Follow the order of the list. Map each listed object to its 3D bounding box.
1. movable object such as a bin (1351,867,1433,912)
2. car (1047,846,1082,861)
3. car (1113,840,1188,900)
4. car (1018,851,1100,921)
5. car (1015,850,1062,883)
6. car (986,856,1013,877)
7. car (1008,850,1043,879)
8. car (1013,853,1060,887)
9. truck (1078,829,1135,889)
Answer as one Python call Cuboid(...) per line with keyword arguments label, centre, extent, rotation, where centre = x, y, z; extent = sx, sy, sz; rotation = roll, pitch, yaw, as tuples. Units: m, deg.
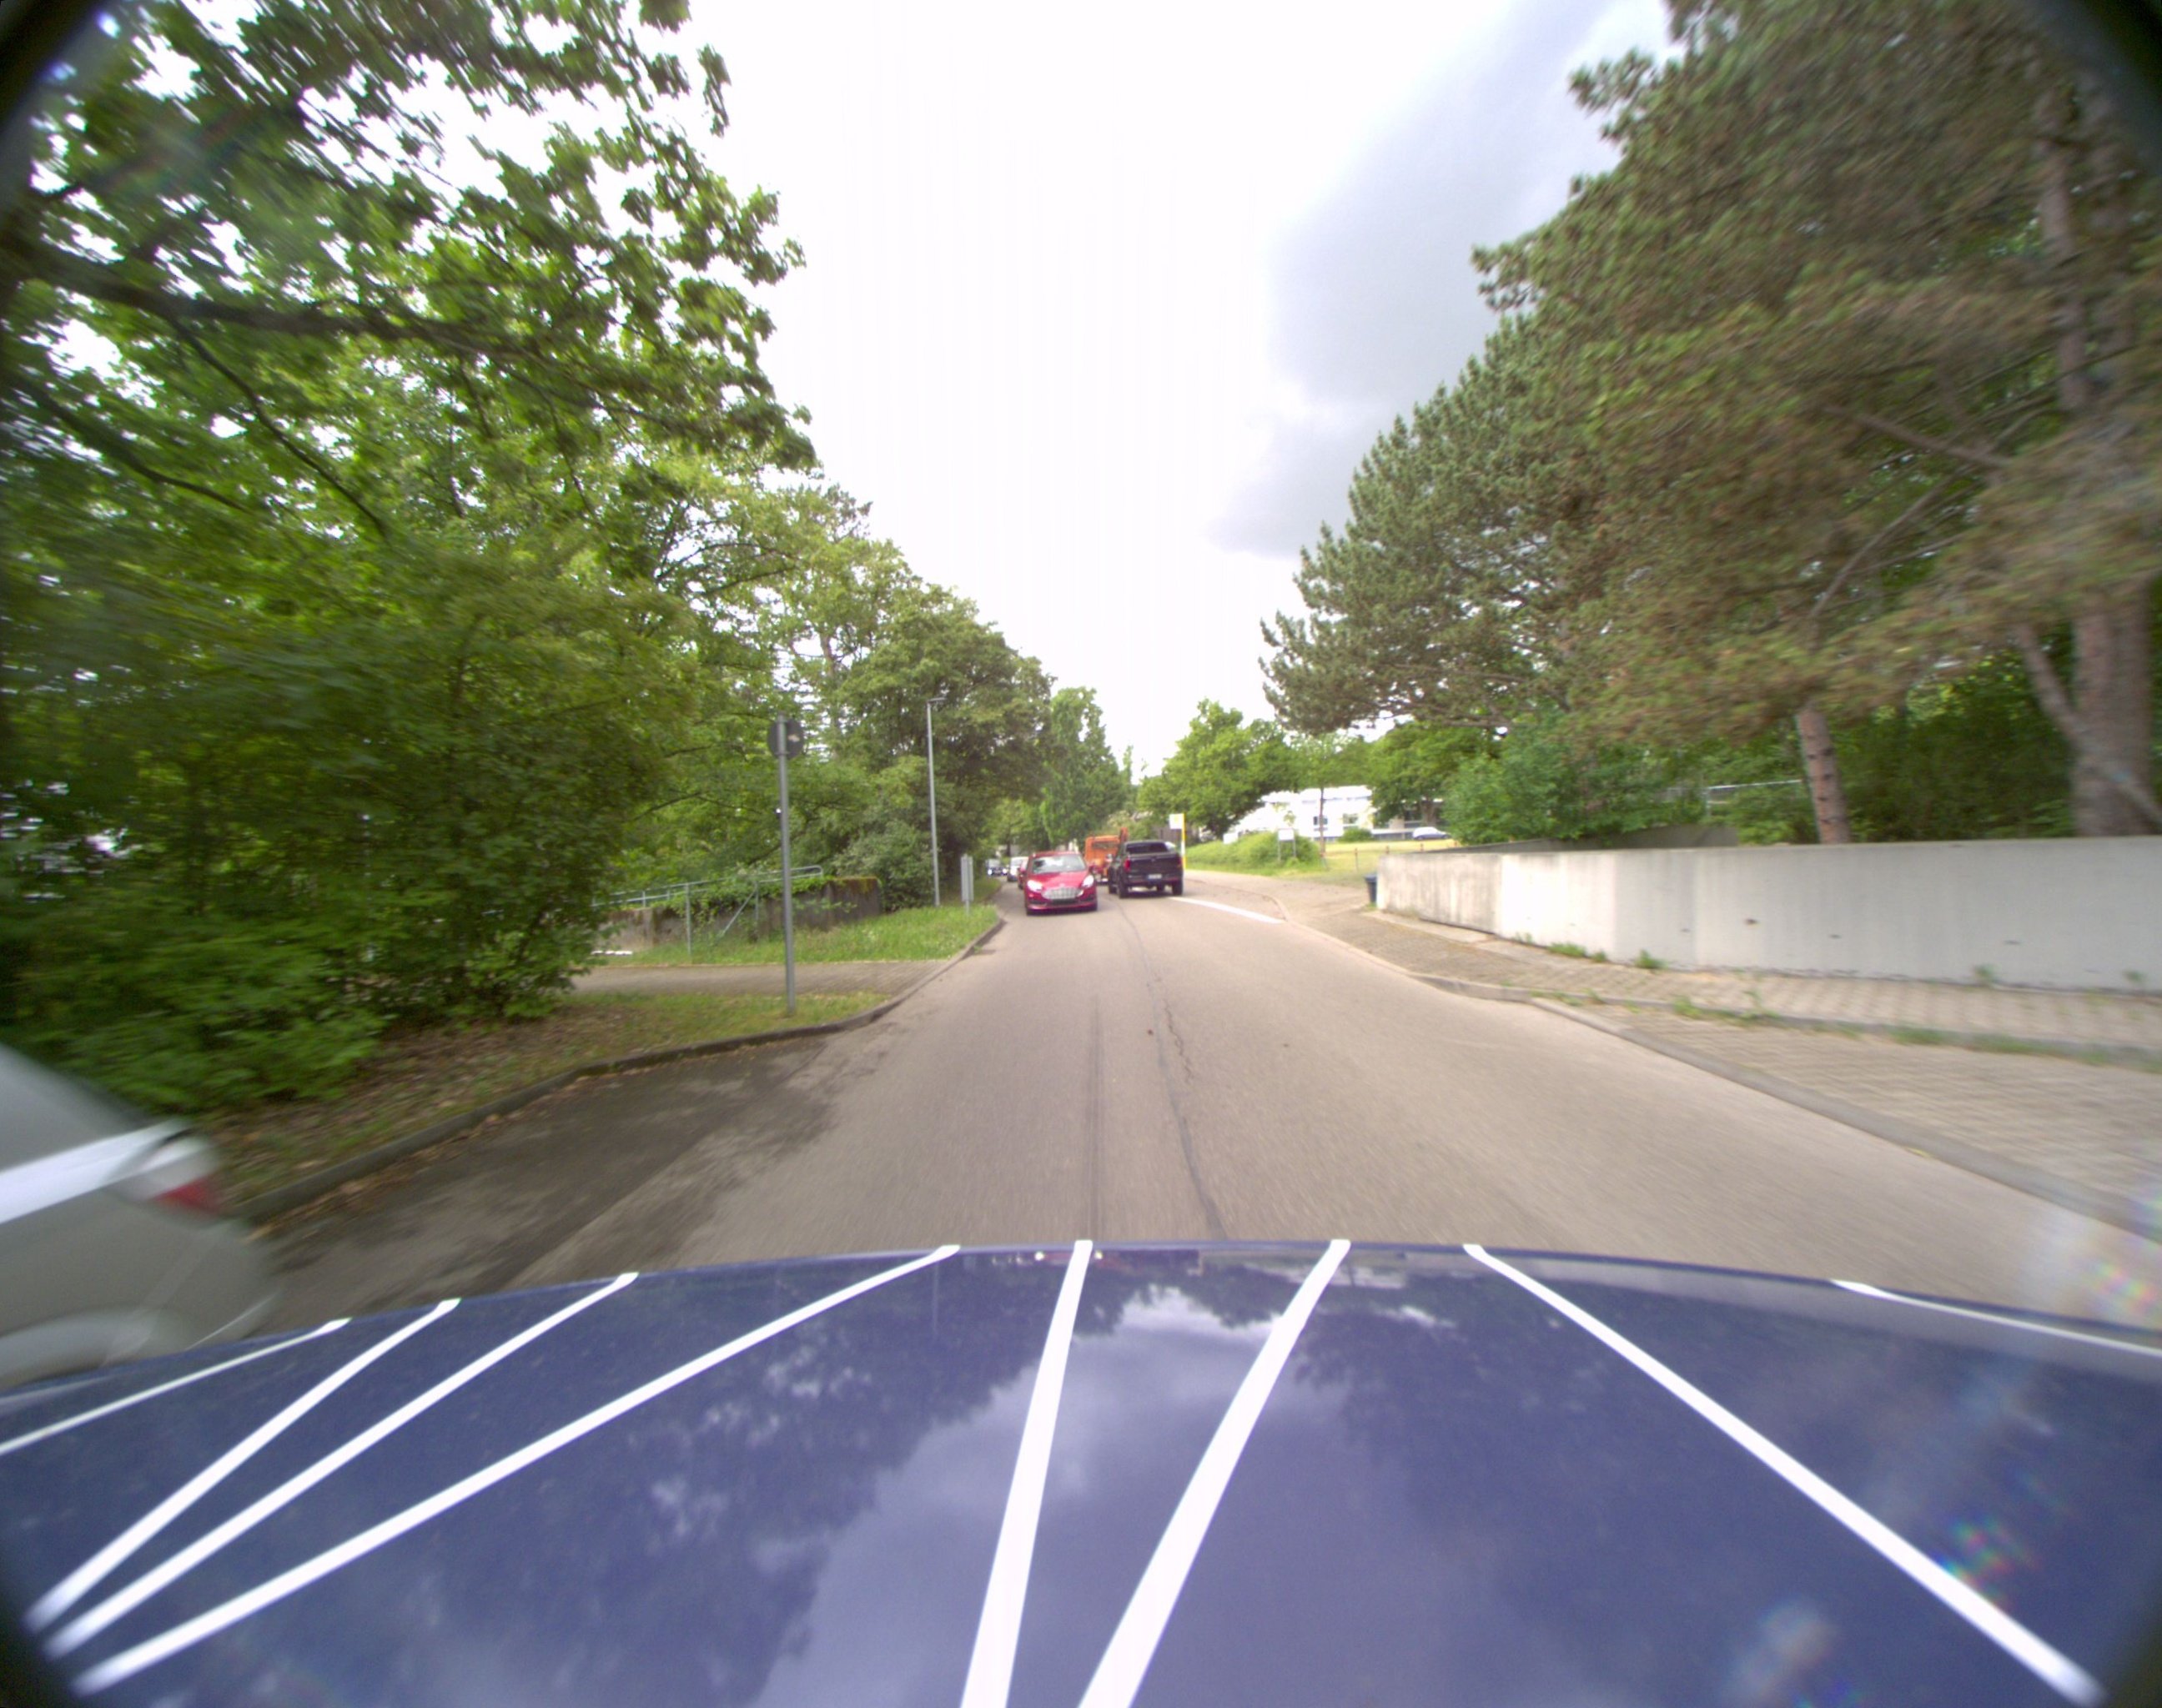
Cuboid(label="movable object such as a bin", centre=(6.235, 0.691, 15.233), extent=(1.149, 0.756, 1.046), rotation=(-6, 2, -36))
Cuboid(label="car", centre=(-2.123, -0.033, 95.771), extent=(3.803, 1.629, 2.003), rotation=(-3, 2, 27))
Cuboid(label="car", centre=(2.217, 0.464, 25.536), extent=(1.998, 1.725, 5.336), rotation=(-2, 1, 0))
Cuboid(label="car", centre=(-0.638, 0.786, 21.146), extent=(1.946, 1.550, 4.354), rotation=(-4, 1, -2))
Cuboid(label="car", centre=(-2.183, 0.592, 37.869), extent=(2.000, 1.503, 3.997), rotation=(-2, 1, -8))
Cuboid(label="car", centre=(-7.517, 1.114, 70.045), extent=(2.000, 1.663, 3.995), rotation=(-5, 2, -11))
Cuboid(label="car", centre=(-3.738, 0.661, 50.634), extent=(1.999, 1.684, 3.996), rotation=(-4, 2, -7))
Cuboid(label="car", centre=(-2.350, 0.778, 38.939), extent=(1.949, 1.523, 4.083), rotation=(-4, 1, -8))
Cuboid(label="truck", centre=(1.180, 0.211, 36.428), extent=(2.328, 2.455, 6.020), rotation=(-4, 0, 1))
